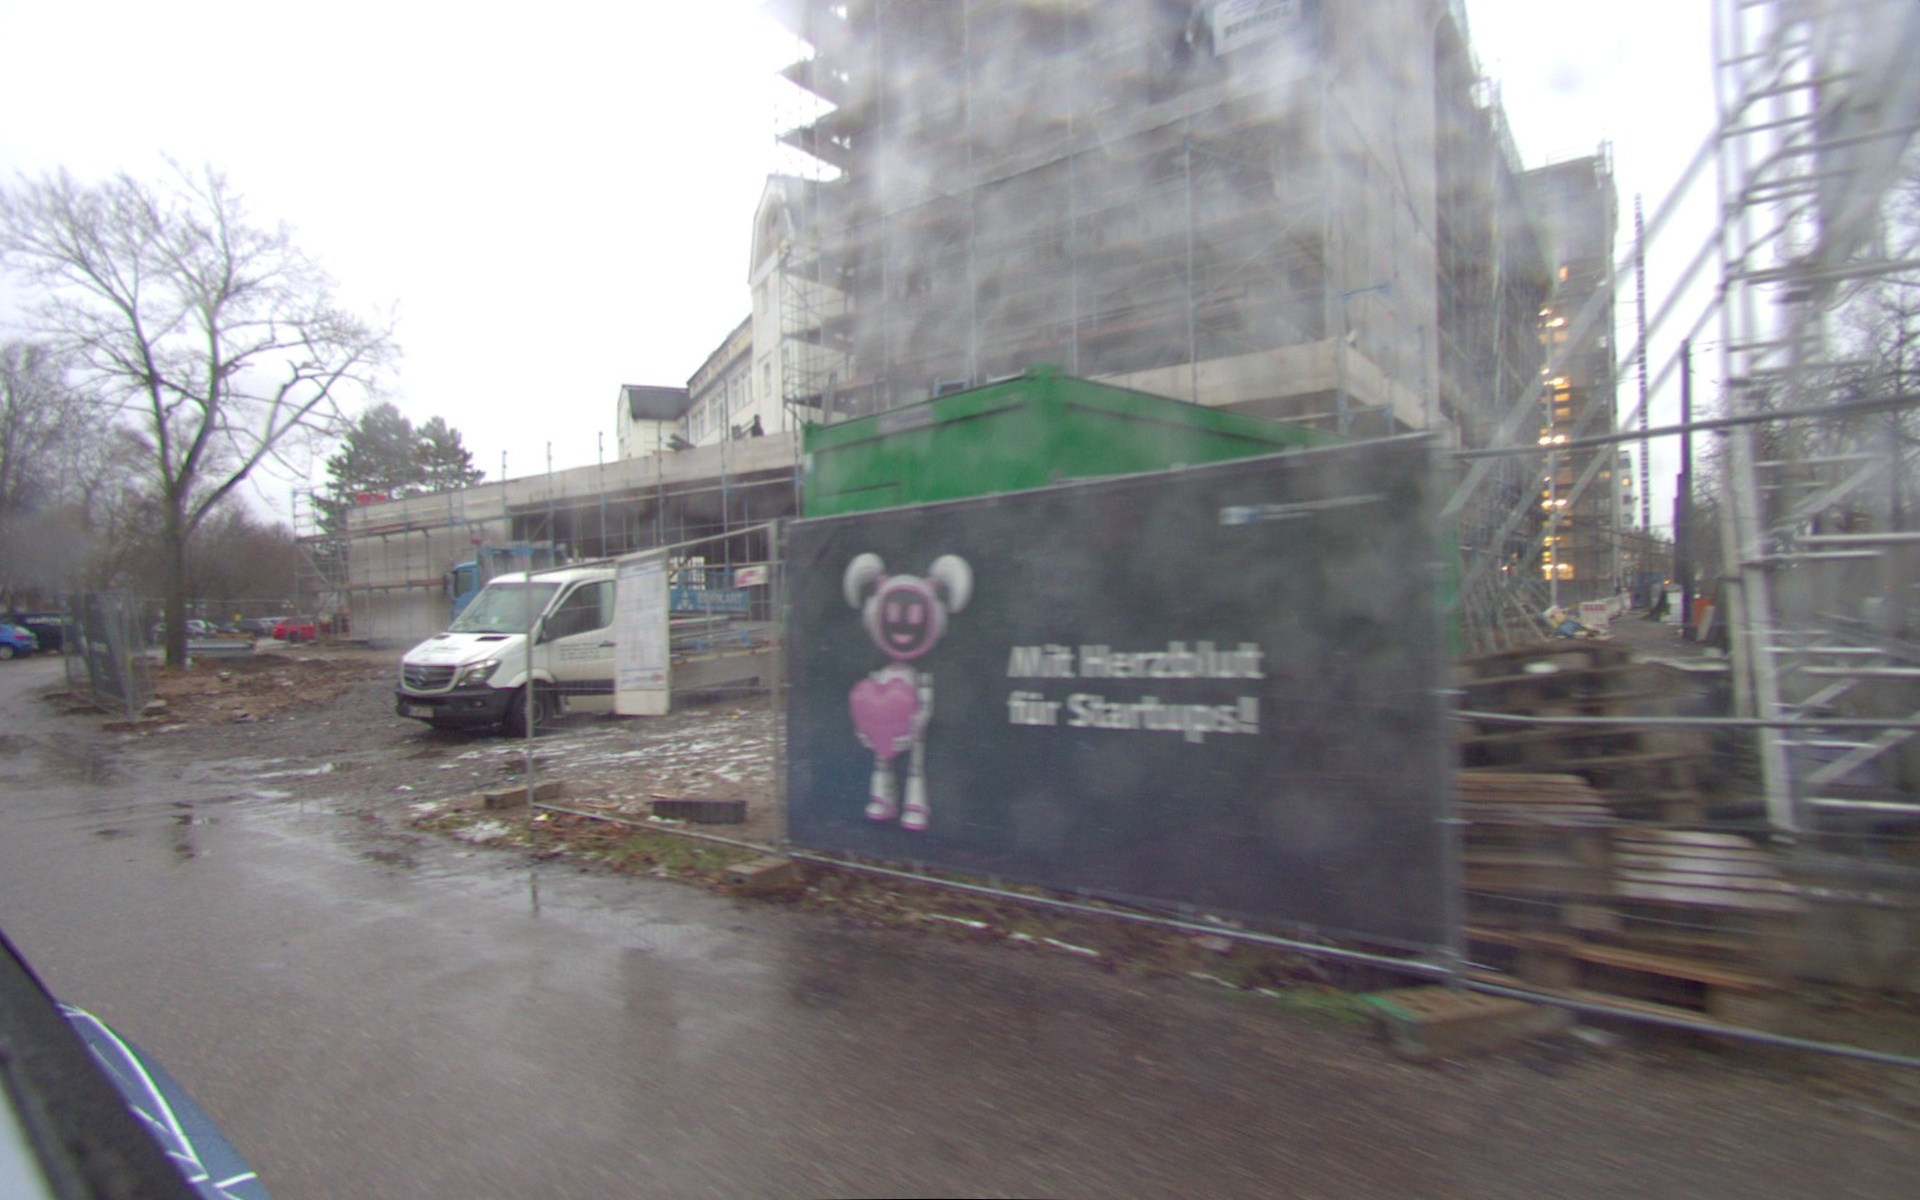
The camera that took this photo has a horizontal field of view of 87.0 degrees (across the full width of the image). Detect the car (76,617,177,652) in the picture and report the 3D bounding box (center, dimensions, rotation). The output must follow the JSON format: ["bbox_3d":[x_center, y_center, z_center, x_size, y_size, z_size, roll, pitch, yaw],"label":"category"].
[{"bbox_3d":[-45.531,1.845,55.355,3.930,1.809,1.808,0,-1,-24],"label":"car"}]

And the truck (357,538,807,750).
[{"bbox_3d":[-5.403,0.468,16.014,2.122,2.607,7.014,-1,1,28],"label":"truck"}]

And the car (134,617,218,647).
[{"bbox_3d":[-49.817,2.035,64.412,3.930,1.809,1.808,0,-1,-24],"label":"car"}]

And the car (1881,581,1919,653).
[{"bbox_3d":[23.011,0.375,23.692,1.751,1.596,3.690,-1,-1,37],"label":"car"}]

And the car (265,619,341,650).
[{"bbox_3d":[-35.178,1.838,54.267,3.252,1.534,1.709,0,-1,-28],"label":"car"}]

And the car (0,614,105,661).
[{"bbox_3d":[-41.337,1.655,45.572,3.930,2.007,2.007,0,-1,-24],"label":"car"}]

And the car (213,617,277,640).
[{"bbox_3d":[-57.679,2.283,81.699,3.930,1.809,1.808,0,-1,-24],"label":"car"}]

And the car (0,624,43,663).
[{"bbox_3d":[-39.244,1.769,39.953,4.109,1.489,2.006,0,-3,-28],"label":"car"}]

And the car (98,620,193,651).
[{"bbox_3d":[-47.296,2.022,58.890,3.930,1.674,2.007,0,-1,-24],"label":"car"}]
